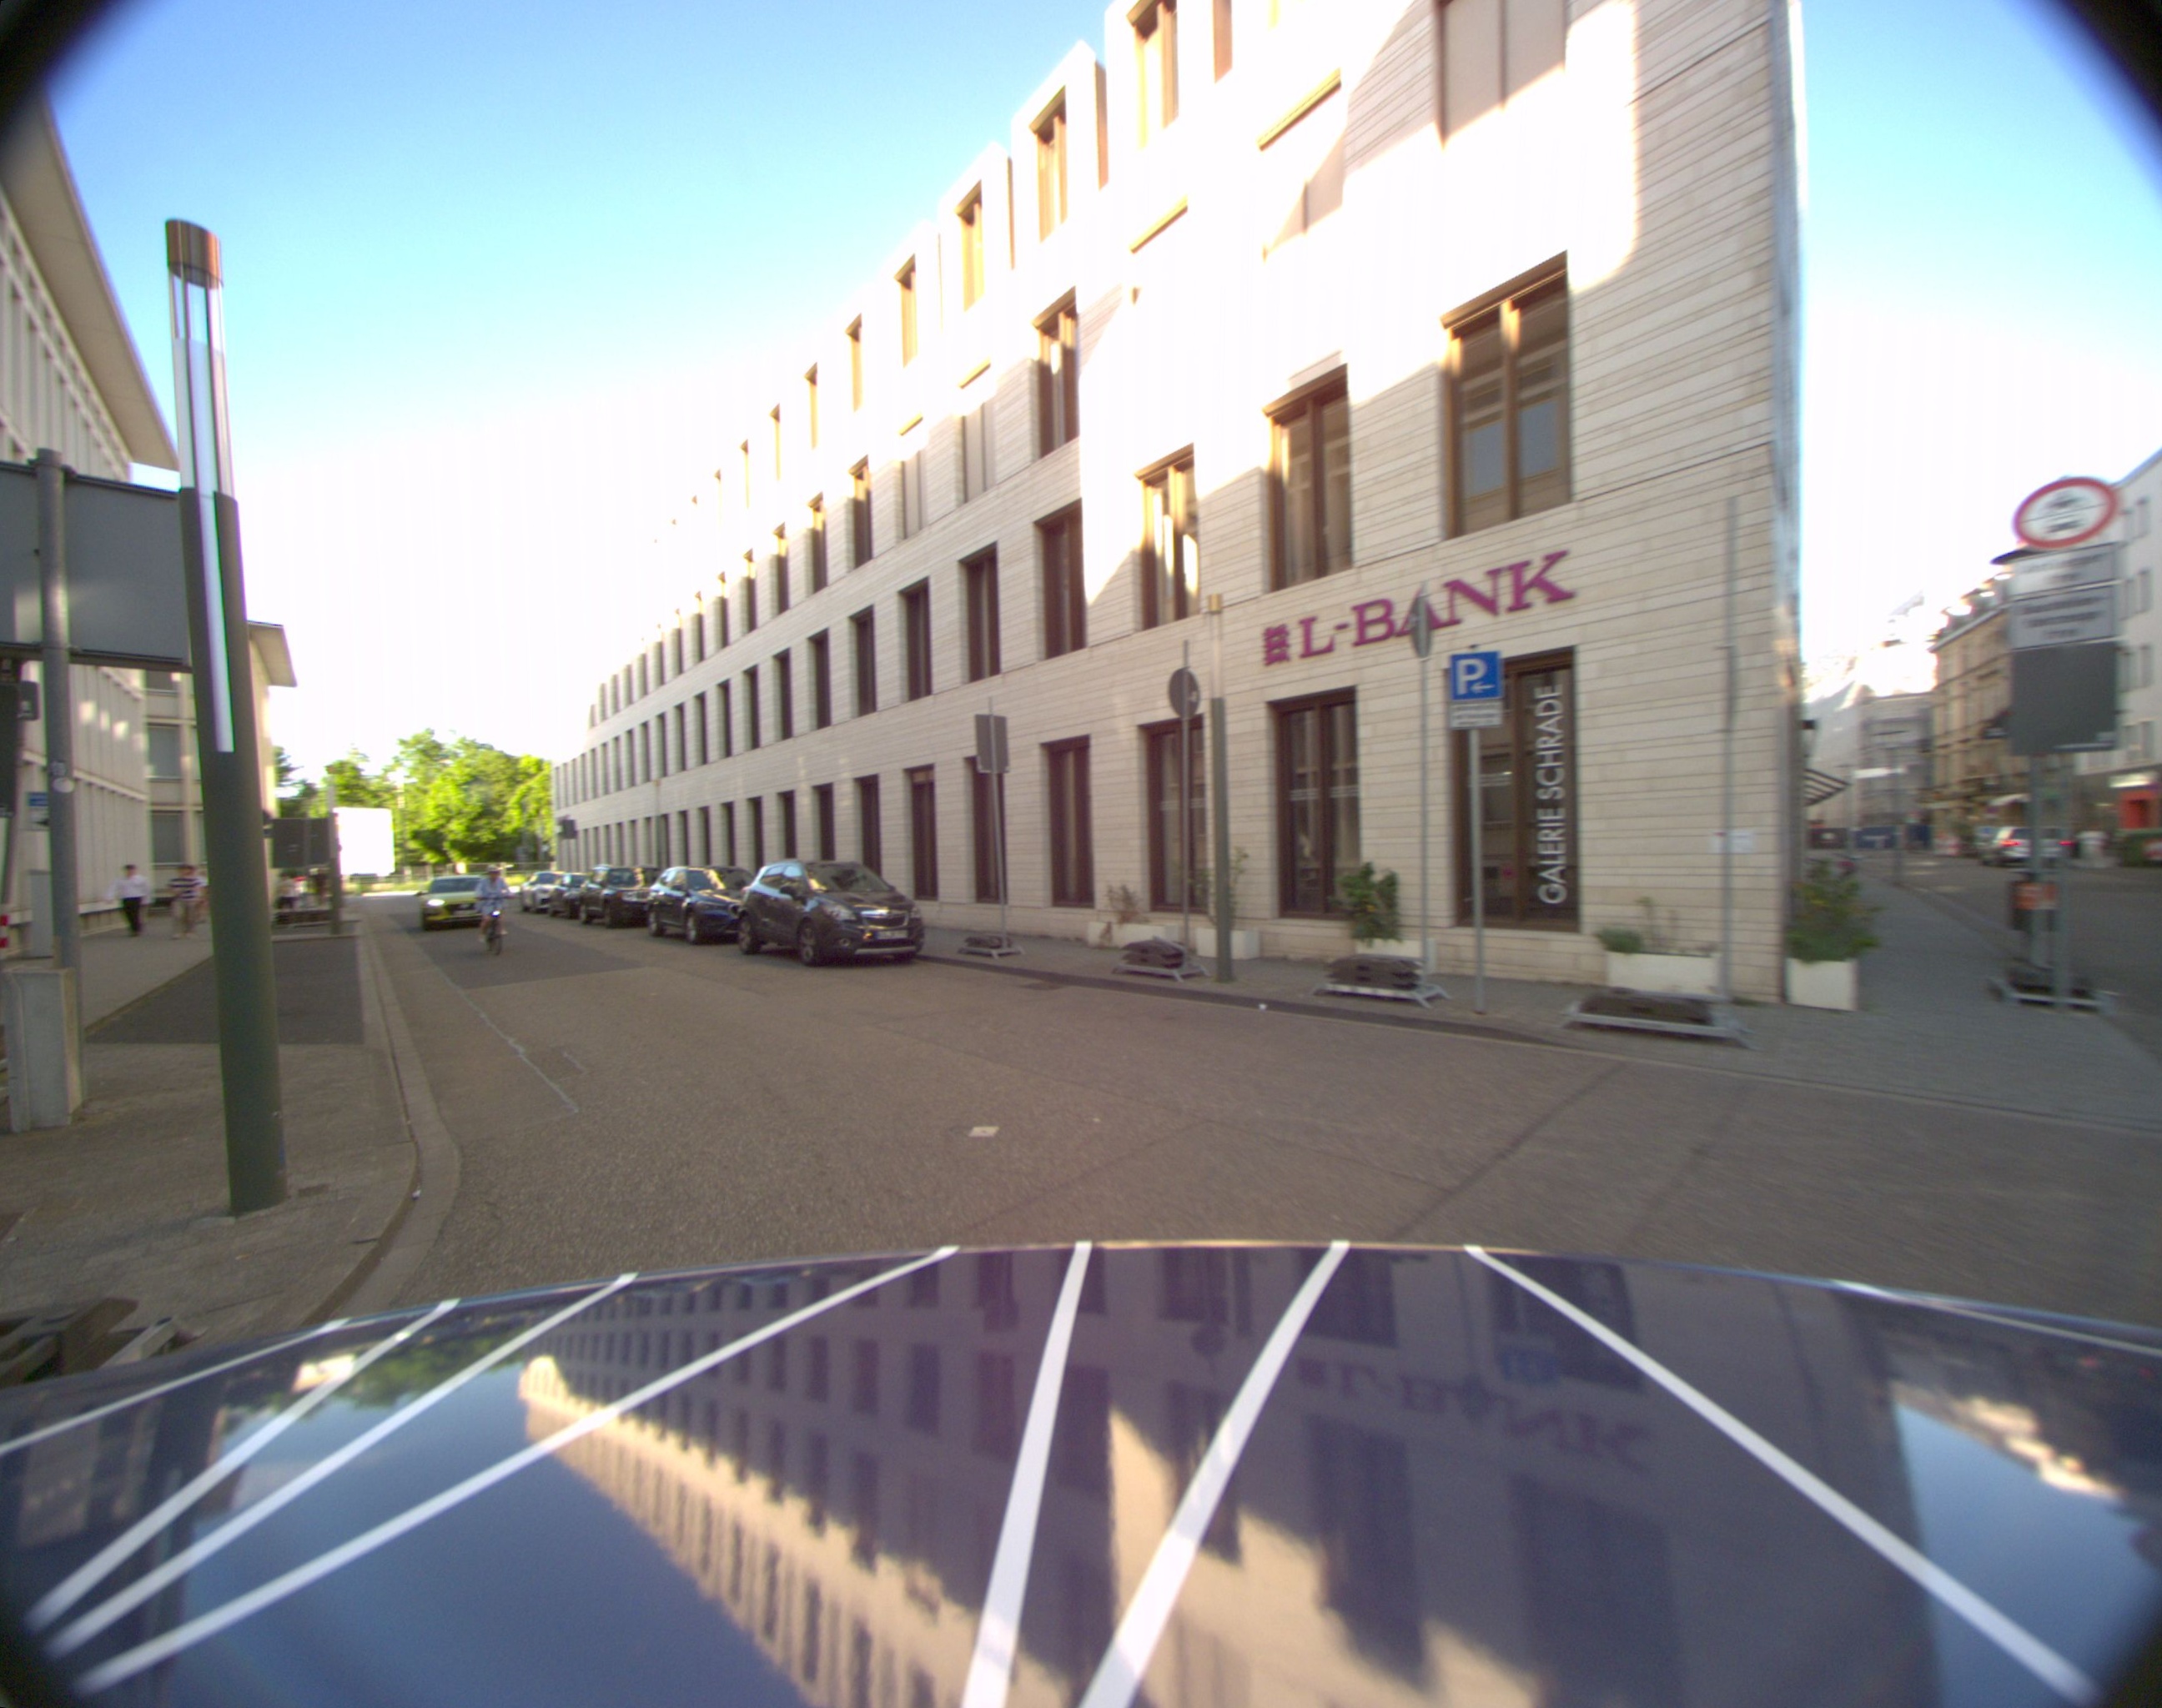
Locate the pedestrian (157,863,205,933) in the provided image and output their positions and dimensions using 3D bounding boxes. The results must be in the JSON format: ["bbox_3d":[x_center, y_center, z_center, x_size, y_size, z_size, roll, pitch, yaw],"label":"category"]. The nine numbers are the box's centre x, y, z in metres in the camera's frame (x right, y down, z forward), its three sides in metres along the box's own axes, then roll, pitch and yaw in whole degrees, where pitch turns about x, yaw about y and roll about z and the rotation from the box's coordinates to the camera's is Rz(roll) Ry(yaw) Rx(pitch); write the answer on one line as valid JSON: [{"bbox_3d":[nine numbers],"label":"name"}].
[{"bbox_3d":[-23.295,1.113,19.676,0.687,1.768,0.691,1,-1,-42],"label":"pedestrian"}]

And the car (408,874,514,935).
[{"bbox_3d":[-18.788,1.439,22.960,2.004,1.451,4.423,-3,2,-45],"label":"car"}]

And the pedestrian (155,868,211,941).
[{"bbox_3d":[-22.250,1.251,18.840,0.687,1.767,0.691,6,-4,-42],"label":"pedestrian"}]

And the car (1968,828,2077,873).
[{"bbox_3d":[37.821,-0.187,30.635,2.171,1.652,4.008,1,2,43],"label":"car"}]

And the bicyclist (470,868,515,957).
[{"bbox_3d":[-11.554,1.133,14.940,0.587,1.679,0.537,-2,2,-32],"label":"bicyclist"}]

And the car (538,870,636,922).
[{"bbox_3d":[-16.753,1.348,25.682,4.251,1.532,1.832,-1,0,44],"label":"car"}]

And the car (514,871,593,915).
[{"bbox_3d":[-20.505,1.446,29.446,1.832,1.532,4.434,0,-1,-44],"label":"car"}]

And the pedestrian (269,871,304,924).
[{"bbox_3d":[-26.122,1.422,24.998,0.687,1.705,0.691,3,-2,-42],"label":"pedestrian"}]

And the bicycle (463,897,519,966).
[{"bbox_3d":[-11.534,1.475,14.903,0.597,1.077,2.304,-2,2,-32],"label":"bicycle"}]

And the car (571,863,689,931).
[{"bbox_3d":[-12.589,1.131,21.105,4.006,1.704,1.832,-1,-2,44],"label":"car"}]

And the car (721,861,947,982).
[{"bbox_3d":[-4.240,0.983,12.642,4.251,1.667,1.832,-1,-2,45],"label":"car"}]

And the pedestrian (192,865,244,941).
[{"bbox_3d":[-20.697,1.163,18.232,0.687,1.767,0.592,3,-2,-42],"label":"pedestrian"}]

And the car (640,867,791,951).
[{"bbox_3d":[-8.027,1.093,16.495,1.749,1.585,4.142,1,-2,-44],"label":"car"}]

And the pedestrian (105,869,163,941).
[{"bbox_3d":[-23.930,1.279,19.219,0.687,1.767,0.691,6,-4,-42],"label":"pedestrian"}]
